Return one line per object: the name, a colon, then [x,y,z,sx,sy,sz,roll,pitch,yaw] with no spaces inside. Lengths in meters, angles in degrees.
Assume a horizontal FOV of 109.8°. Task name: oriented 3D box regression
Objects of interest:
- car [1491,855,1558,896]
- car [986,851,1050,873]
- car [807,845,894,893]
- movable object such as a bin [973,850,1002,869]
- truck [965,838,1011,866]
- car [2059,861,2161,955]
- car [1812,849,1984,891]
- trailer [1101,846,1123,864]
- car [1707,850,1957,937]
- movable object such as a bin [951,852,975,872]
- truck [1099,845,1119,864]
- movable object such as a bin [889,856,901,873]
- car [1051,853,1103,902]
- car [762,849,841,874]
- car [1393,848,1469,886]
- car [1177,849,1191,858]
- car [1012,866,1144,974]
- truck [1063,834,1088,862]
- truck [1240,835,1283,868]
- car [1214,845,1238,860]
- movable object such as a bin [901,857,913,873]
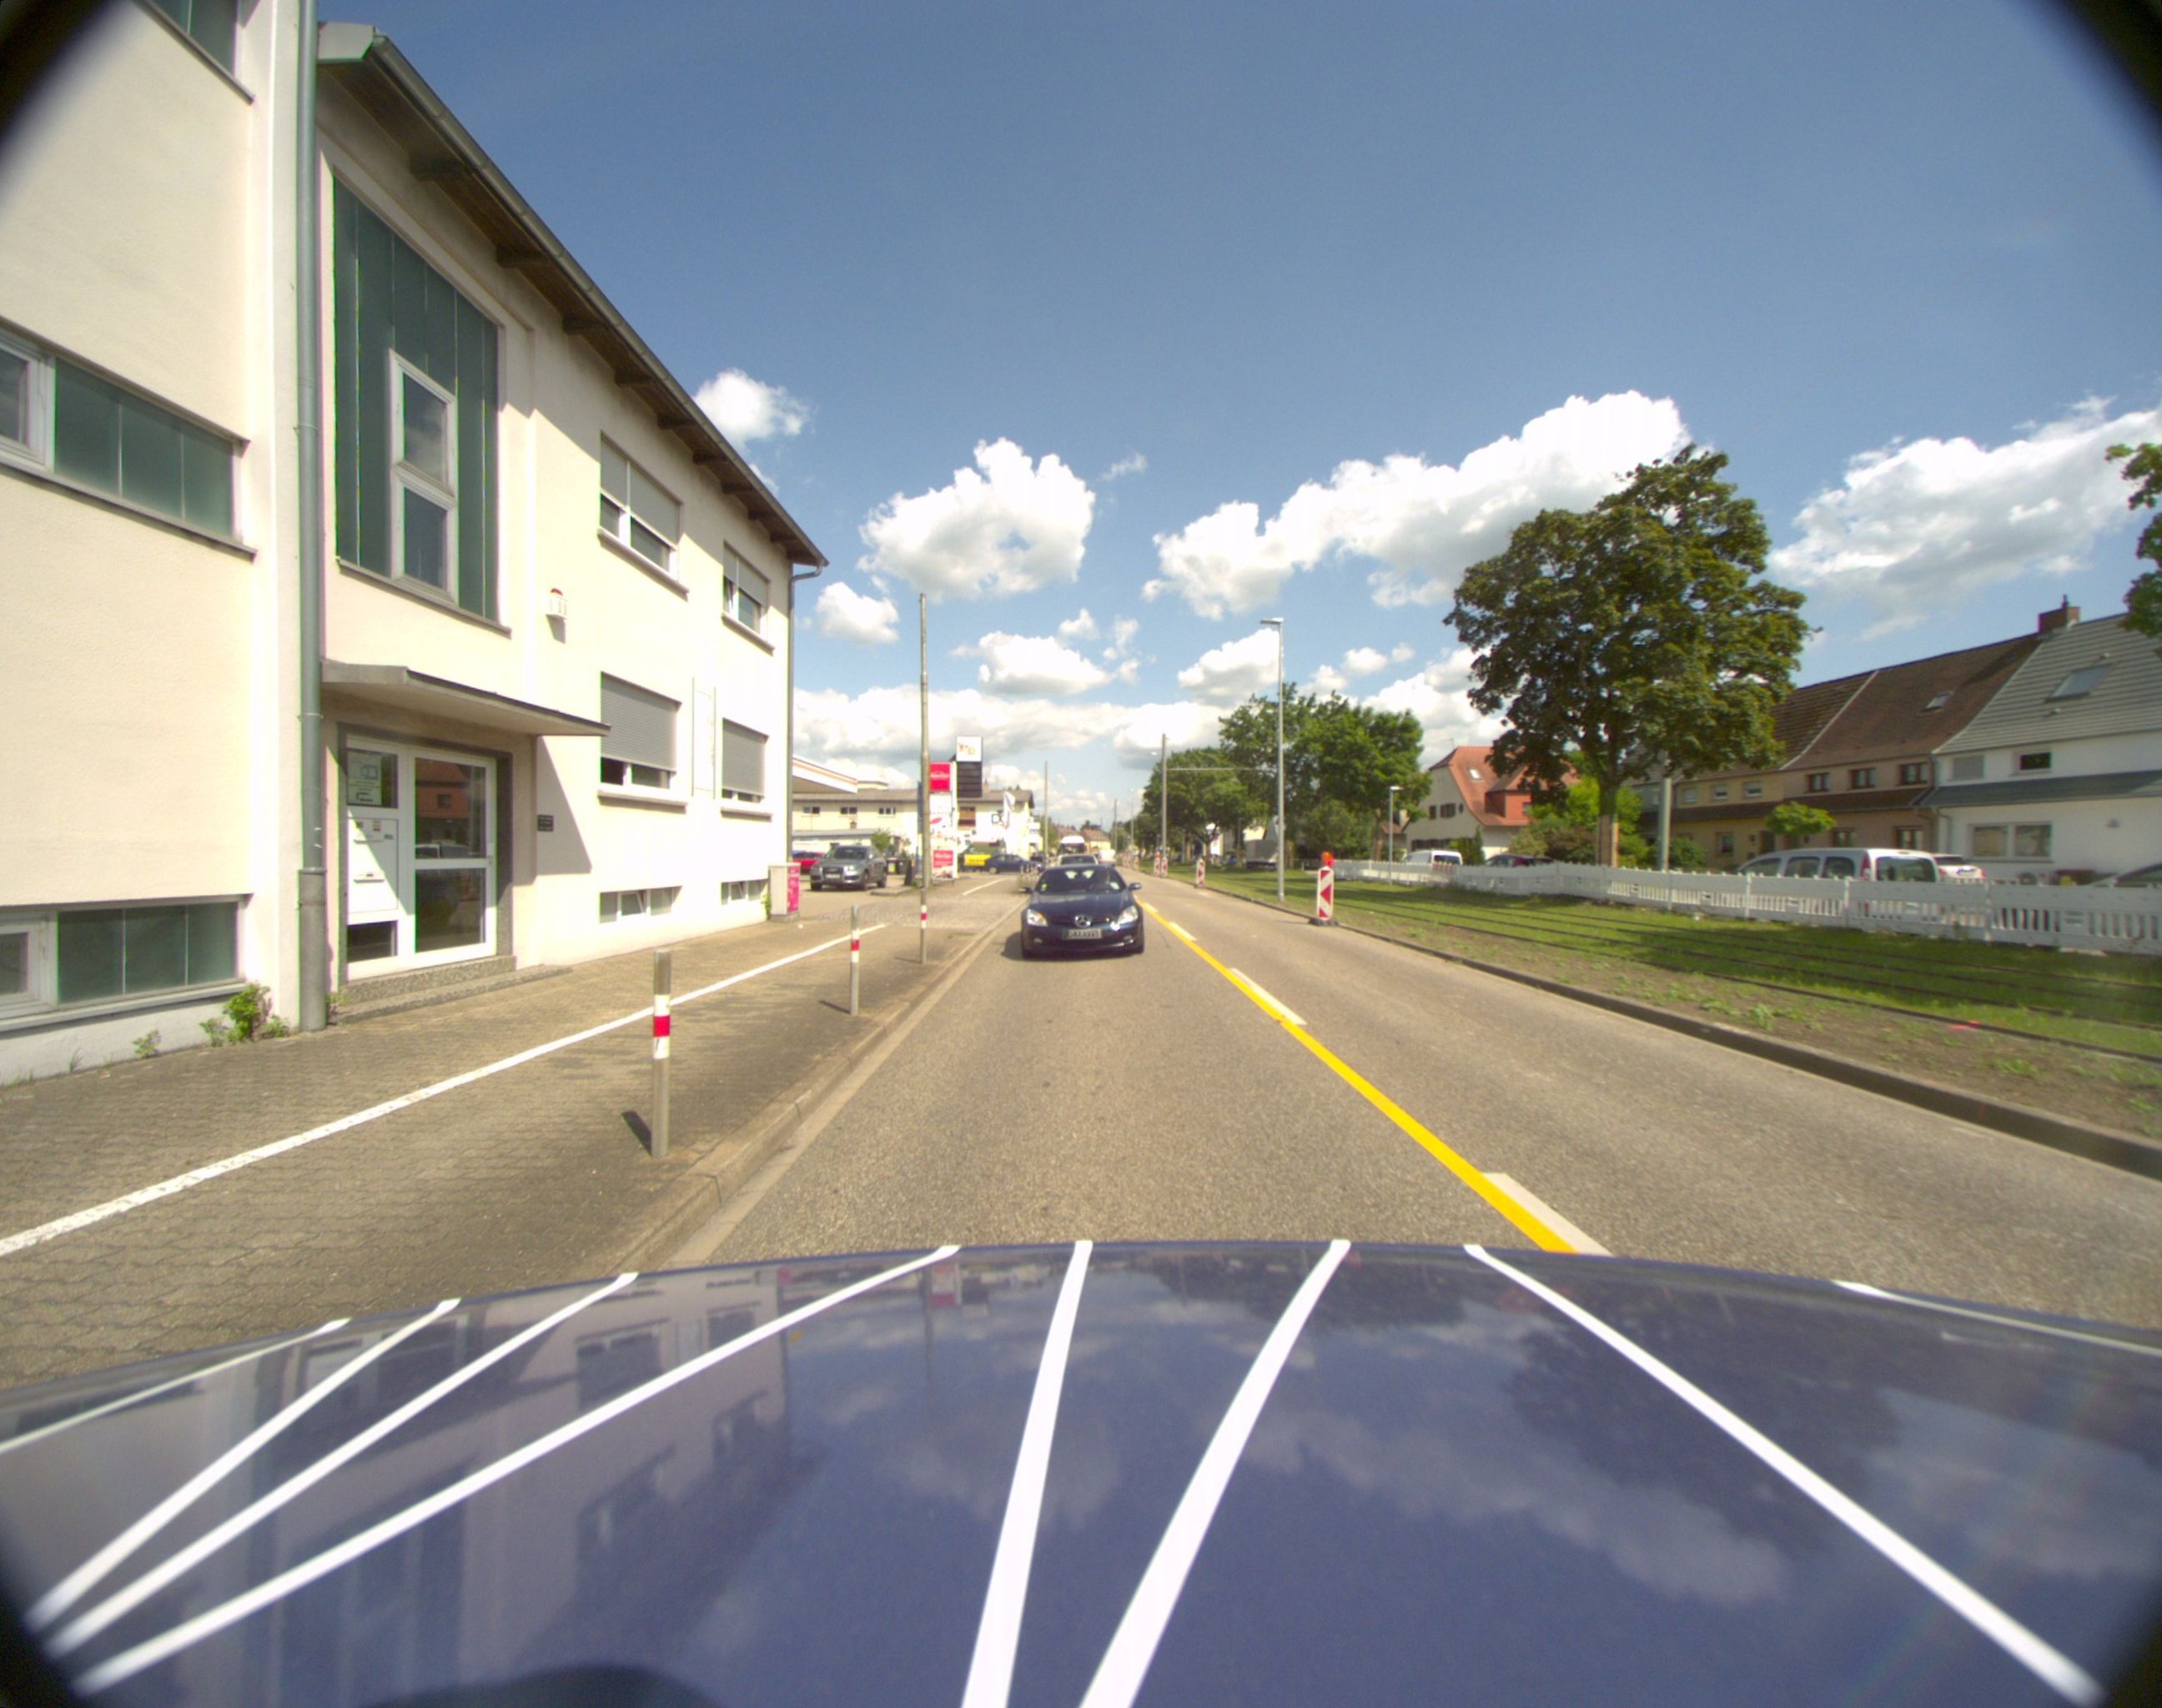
car: [15.916,0.741,27.358,1.075,1.340,2.449,1,1,4]
car: [-4.200,0.533,51.045,4.062,1.400,1.647,0,1,3]
car: [-8.378,0.498,28.016,1.951,1.615,4.614,1,1,-2]
movable object such as a bin: [-7.109,0.442,57.666,1.968,1.339,1.708,-2,1,-1]
truck: [-9.118,-0.197,74.623,4.181,2.645,2.108,-2,1,1]
car: [16.402,0.799,10.641,1.353,1.369,3.114,1,0,0]
car: [28.382,0.513,26.604,1.538,1.268,4.119,1,1,0]
trailer: [3.250,0.058,81.675,2.067,1.825,5.484,2,1,0]
car: [16.403,0.768,16.925,1.627,1.642,3.898,1,1,0]
movable object such as a bin: [-8.966,0.599,57.650,1.536,1.402,1.765,-2,1,-1]
truck: [3.097,0.000,85.086,1.825,1.899,5.114,2,1,-2]
movable object such as a bin: [-11.793,0.665,48.287,0.582,1.004,0.706,-2,1,-1]
car: [-0.115,0.743,25.796,1.594,1.418,3.706,-2,1,0]
car: [-16.994,0.444,46.340,4.145,1.416,1.771,1,1,1]
car: [16.120,0.552,35.230,1.657,1.616,4.000,1,1,0]
car: [15.961,-0.138,117.973,1.637,1.294,3.999,-2,1,0]
car: [-0.036,0.912,12.133,1.732,1.259,3.999,-2,1,0]
truck: [-0.544,-0.706,85.332,2.632,2.872,7.922,-2,1,1]
truck: [16.069,-0.235,67.986,2.371,2.789,5.950,-2,1,0]
car: [14.949,-0.164,78.503,1.672,1.504,3.930,-2,1,0]
movable object such as a bin: [-11.085,0.687,48.419,0.582,1.004,0.706,-2,1,-1]
